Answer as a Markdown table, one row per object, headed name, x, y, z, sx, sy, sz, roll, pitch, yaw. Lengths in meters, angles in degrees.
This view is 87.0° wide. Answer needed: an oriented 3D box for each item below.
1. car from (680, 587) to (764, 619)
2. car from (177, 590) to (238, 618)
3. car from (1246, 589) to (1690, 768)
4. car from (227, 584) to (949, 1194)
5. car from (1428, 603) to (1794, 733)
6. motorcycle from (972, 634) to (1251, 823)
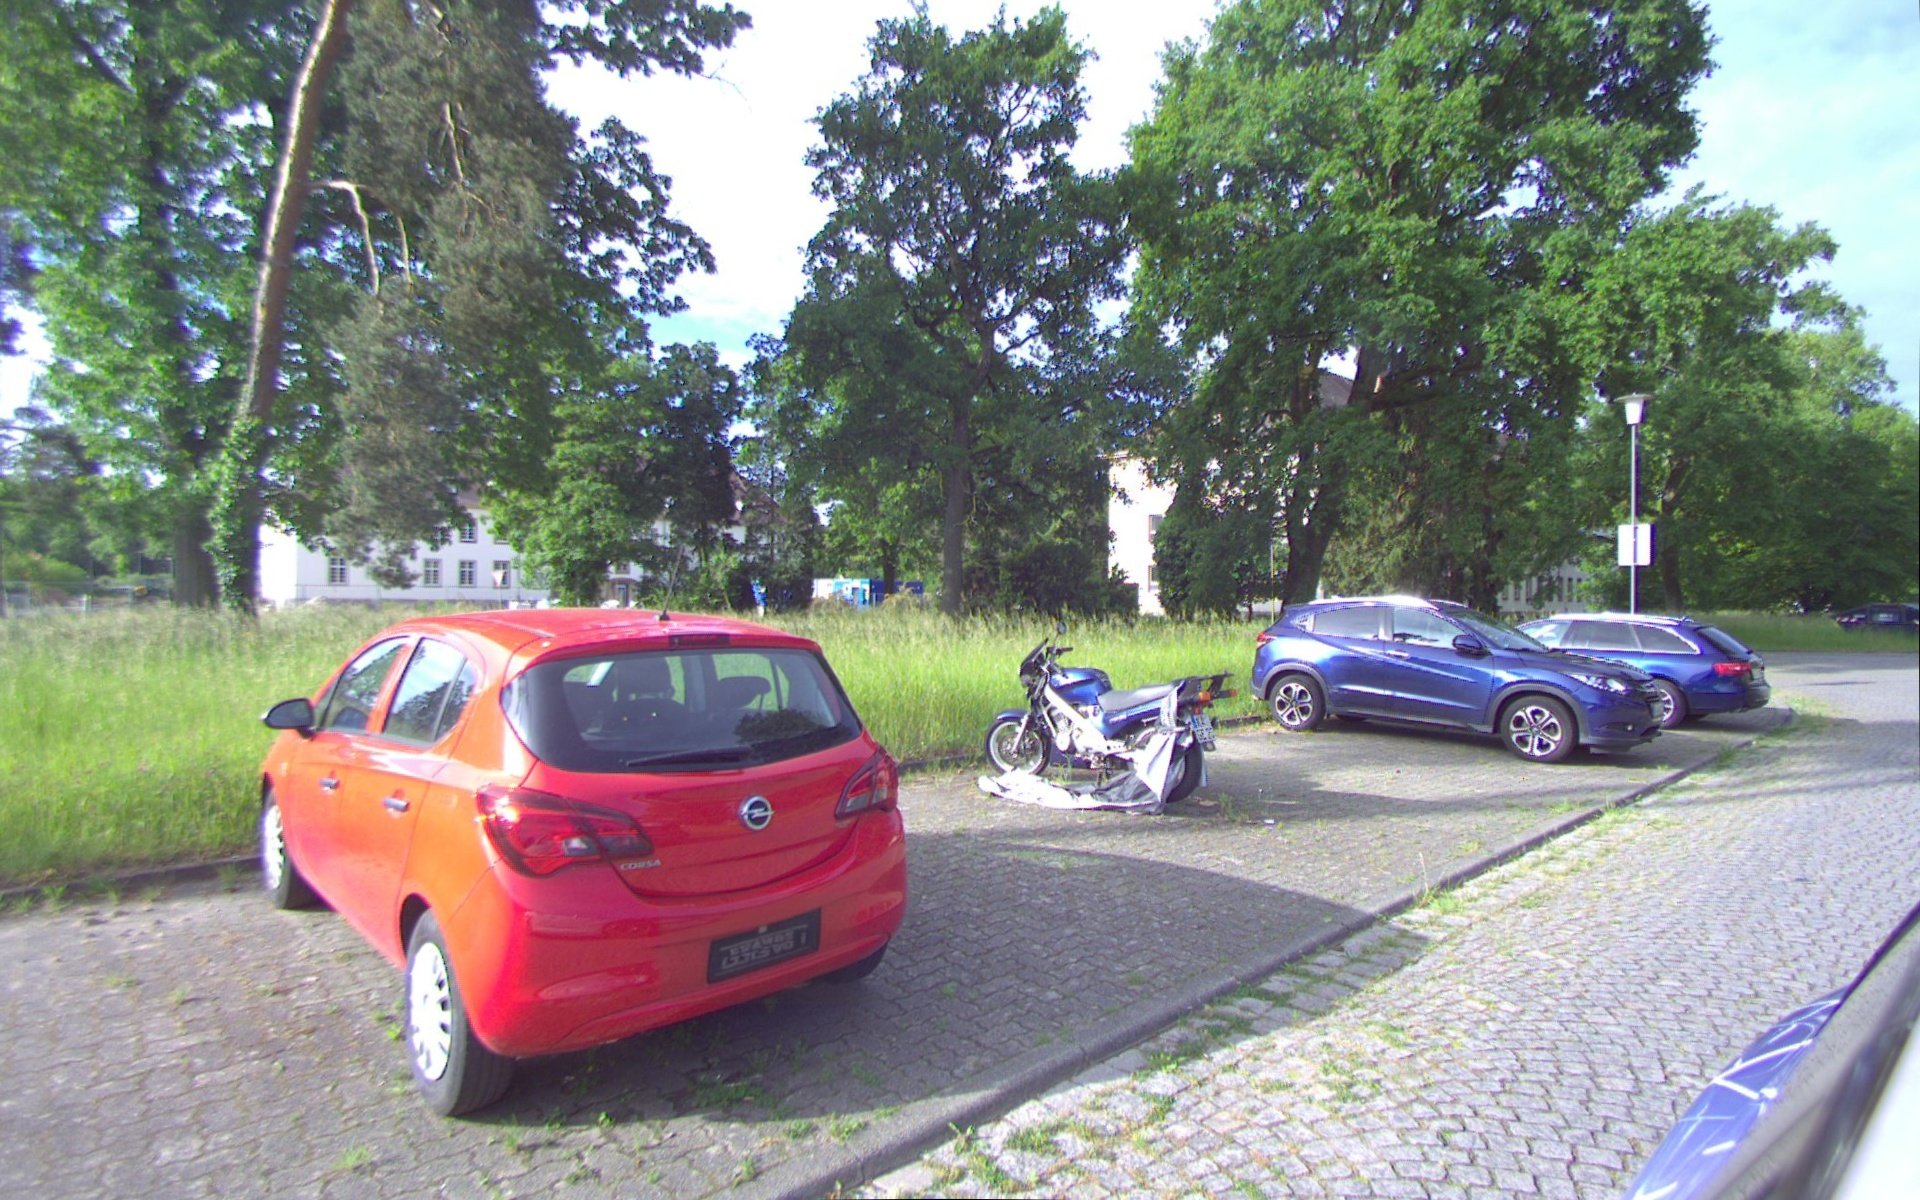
| name | x | y | z | sx | sy | sz | roll | pitch | yaw |
| --- | --- | --- | --- | --- | --- | --- | --- | --- | --- |
| car | -17.980 | 0.182 | 76.525 | 5.857 | 2.328 | 2.166 | 0 | 0 | -41 |
| car | -56.975 | 0.251 | 76.578 | 5.640 | 2.039 | 2.595 | 0 | 0 | 41 |
| car | 5.500 | 0.700 | 11.363 | 1.717 | 1.588 | 4.130 | 0 | 1 | -43 |
| car | -1.970 | 0.704 | 4.548 | 1.659 | 1.491 | 3.881 | -1 | 2 | -43 |
| car | 9.045 | 0.823 | 14.327 | 1.752 | 1.469 | 4.033 | 0 | 1 | -40 |
| motorcycle | 1.078 | 0.895 | 7.844 | 0.596 | 1.127 | 2.306 | 0 | 2 | -41 |
